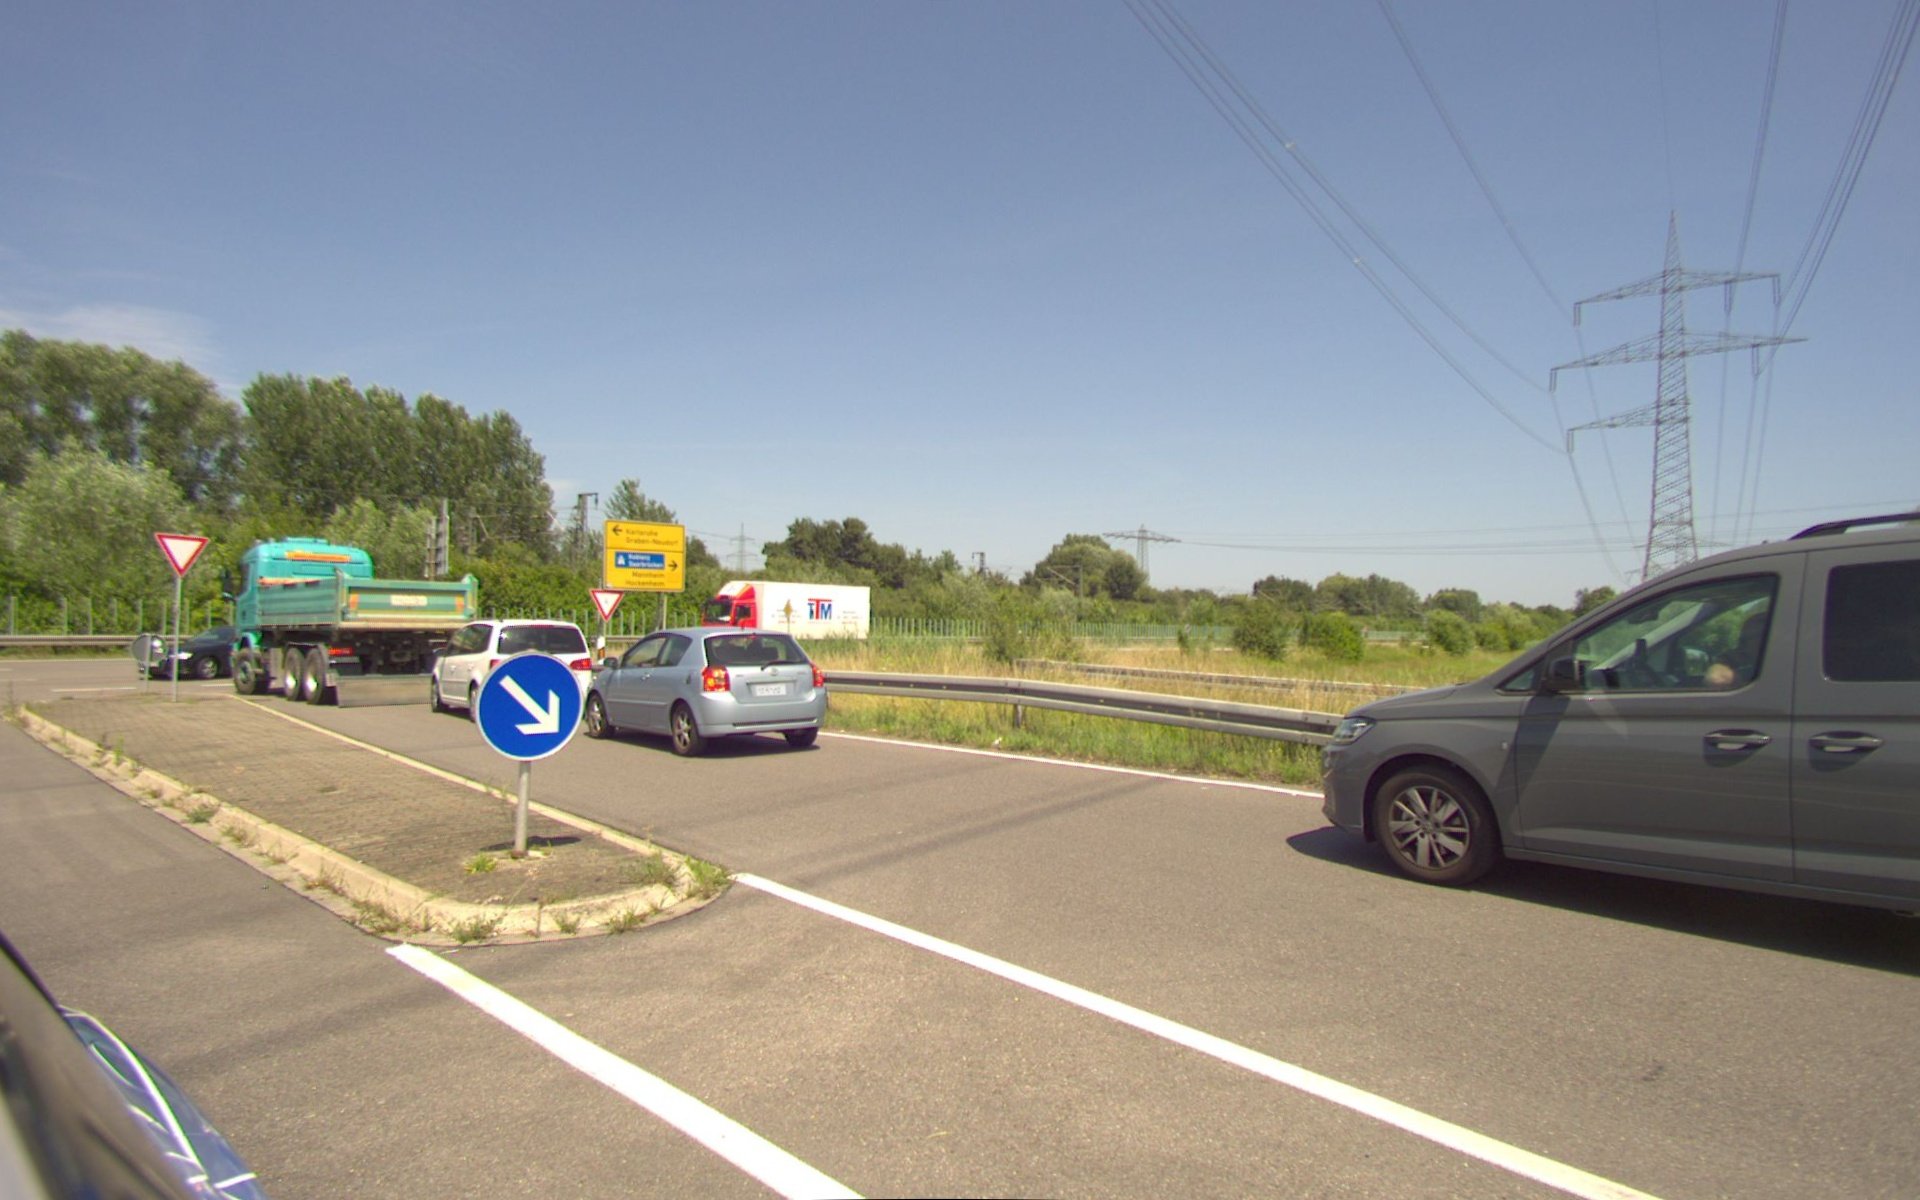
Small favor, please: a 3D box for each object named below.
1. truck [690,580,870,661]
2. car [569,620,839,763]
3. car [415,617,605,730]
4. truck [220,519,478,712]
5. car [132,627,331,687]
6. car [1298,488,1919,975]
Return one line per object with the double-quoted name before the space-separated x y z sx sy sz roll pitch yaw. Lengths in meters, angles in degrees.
"truck" -8.524 0.939 49.462 2.720 3.606 9.439 -1 -1 36
"car" -3.292 1.029 12.526 1.612 1.471 4.013 2 -3 -41
"car" -7.698 1.156 17.082 1.750 1.633 4.336 0 -2 -41
"truck" -13.399 0.418 21.871 7.607 3.498 2.574 -2 -3 42
"car" -20.154 1.530 28.175 1.821 1.450 4.100 2 0 35
"car" 4.118 0.535 4.780 1.902 1.846 4.446 2 -3 -40
